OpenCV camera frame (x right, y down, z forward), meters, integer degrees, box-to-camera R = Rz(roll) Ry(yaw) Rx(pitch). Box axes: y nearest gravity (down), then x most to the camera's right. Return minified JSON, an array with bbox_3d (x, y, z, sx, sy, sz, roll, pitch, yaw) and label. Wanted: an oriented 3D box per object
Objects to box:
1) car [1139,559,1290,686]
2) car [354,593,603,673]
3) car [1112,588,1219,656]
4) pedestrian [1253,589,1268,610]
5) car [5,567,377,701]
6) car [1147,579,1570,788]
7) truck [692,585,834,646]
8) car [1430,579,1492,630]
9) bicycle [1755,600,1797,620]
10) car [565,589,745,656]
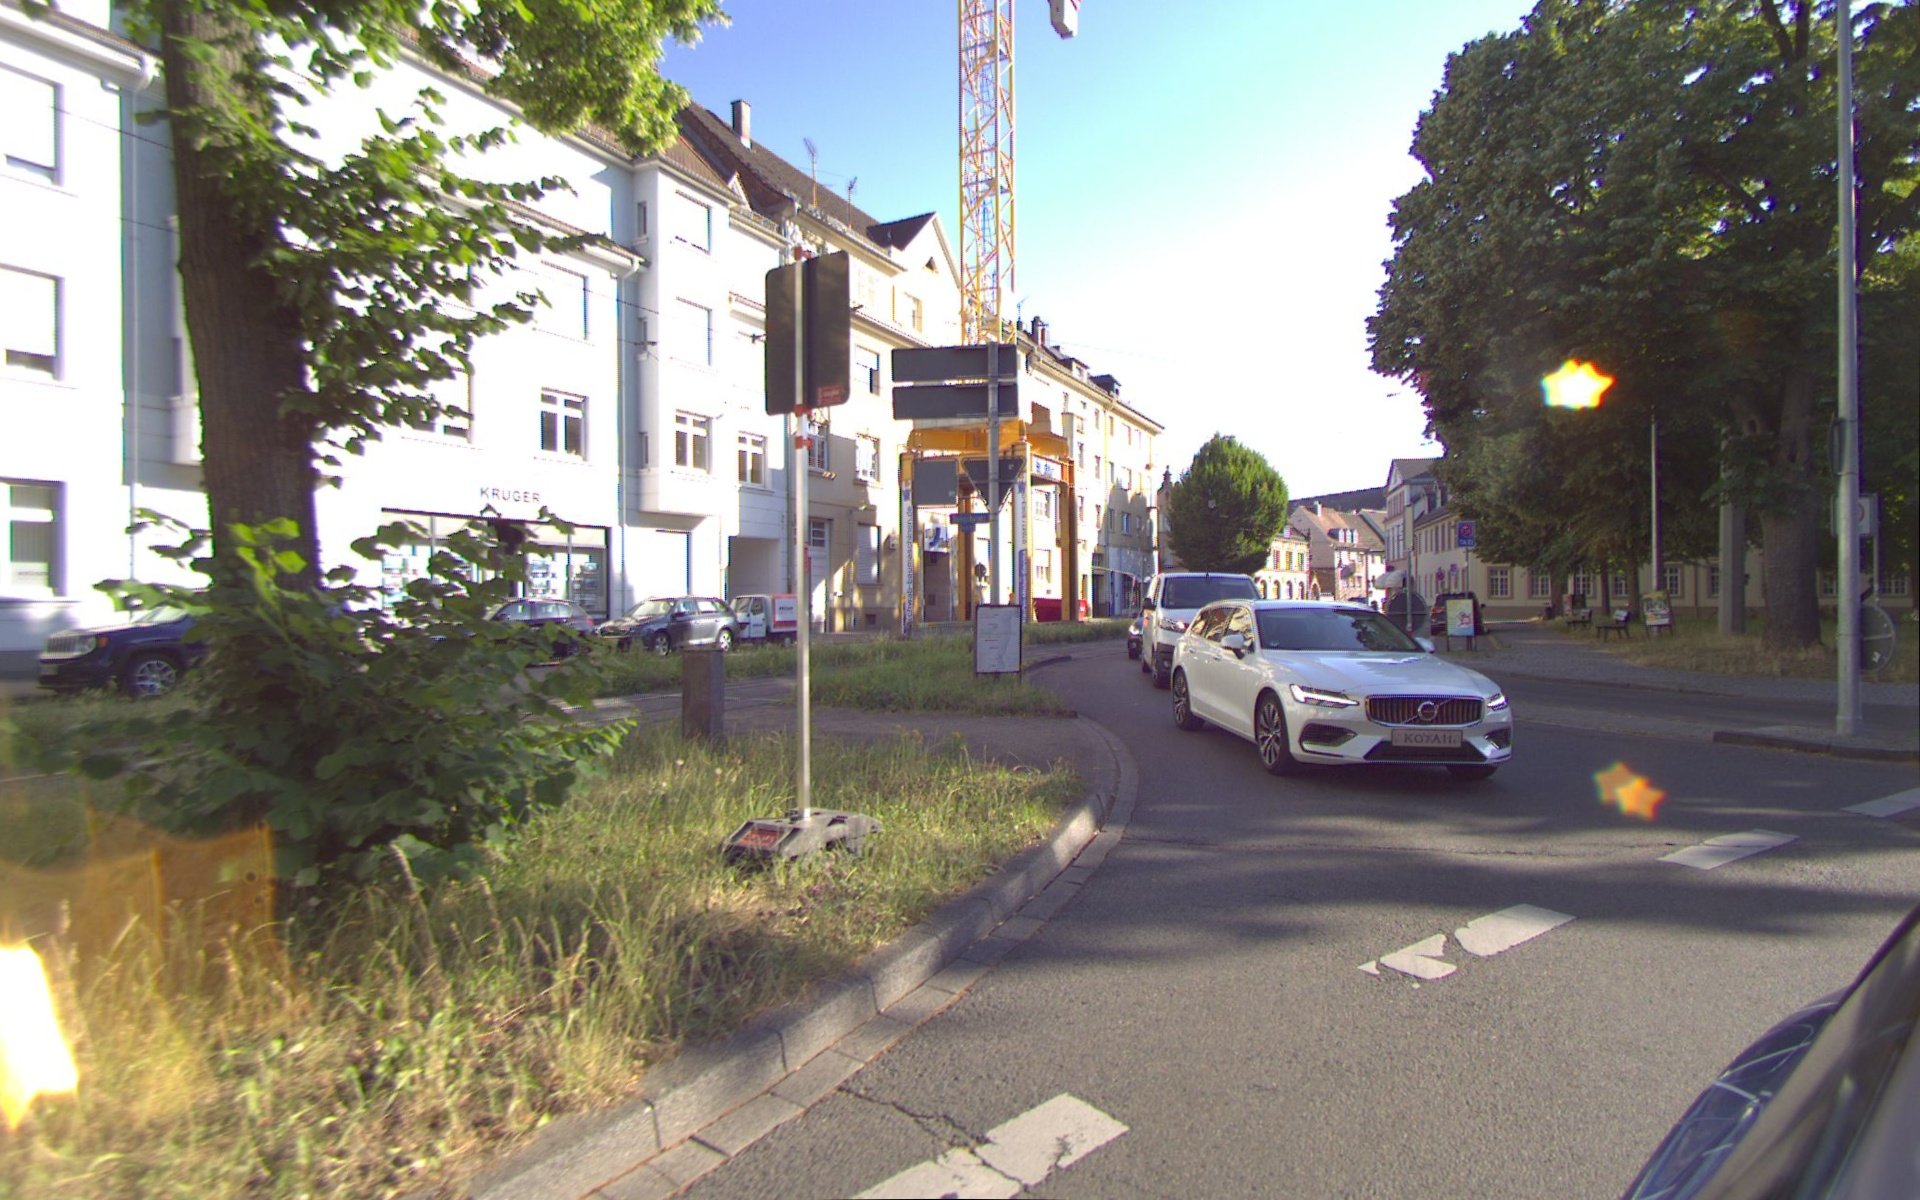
[{"bbox_3d":[4.225,0.329,17.582,1.966,1.878,4.891,1,0,8],"label":"car"},{"bbox_3d":[-9.462,0.586,20.243,1.982,1.404,4.167,1,0,28],"label":"car"},{"bbox_3d":[5.038,0.490,24.365,1.975,1.463,4.045,1,0,20],"label":"car"},{"bbox_3d":[29.337,-0.095,98.858,1.338,2.039,1.152,0,0,18],"label":"pedestrian"},{"bbox_3d":[-11.674,0.453,15.714,1.979,1.771,4.172,1,0,25],"label":"car"},{"bbox_3d":[3.305,0.600,9.614,1.818,1.482,4.776,1,0,-4],"label":"car"},{"bbox_3d":[-5.554,0.401,29.043,1.980,1.605,4.060,1,0,26],"label":"truck"},{"bbox_3d":[19.175,0.152,38.773,1.980,1.816,3.964,-1,0,26],"label":"car"},{"bbox_3d":[45.860,0.539,56.892,1.750,1.045,0.714,1,1,32],"label":"bicycle"},{"bbox_3d":[-7.319,0.496,24.698,1.980,1.471,4.060,1,0,26],"label":"car"}]
